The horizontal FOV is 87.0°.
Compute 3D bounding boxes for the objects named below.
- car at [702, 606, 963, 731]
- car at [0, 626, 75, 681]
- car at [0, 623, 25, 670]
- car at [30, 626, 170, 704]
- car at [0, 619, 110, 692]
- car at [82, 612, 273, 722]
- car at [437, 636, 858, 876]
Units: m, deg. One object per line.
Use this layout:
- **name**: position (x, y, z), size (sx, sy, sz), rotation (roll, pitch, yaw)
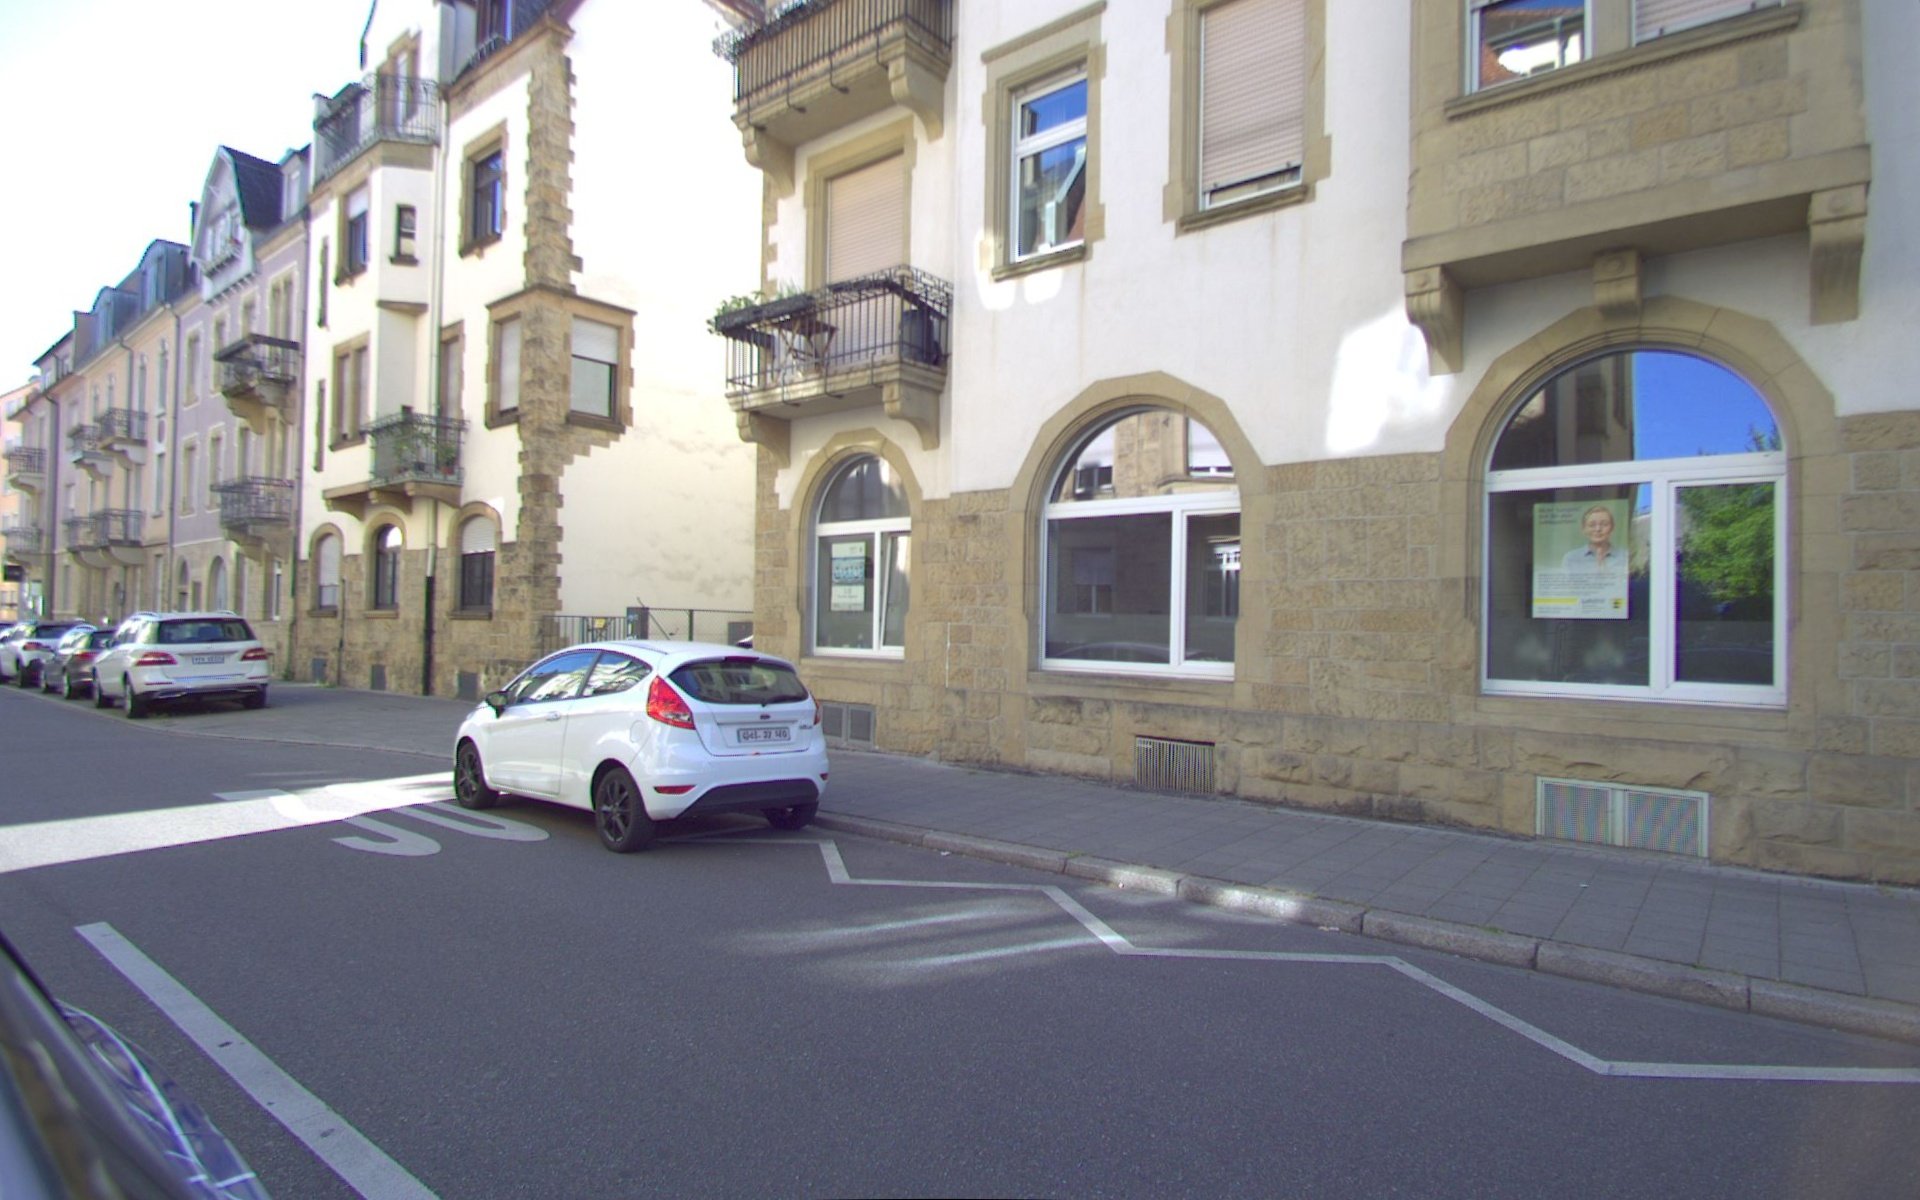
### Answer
- **car**: position (-1.940, 1.049, 16.327), size (1.908, 1.741, 3.928), rotation (-2, -3, 40)
- **car**: position (-26.874, 1.500, 28.863), size (3.658, 1.404, 1.658), rotation (-1, 1, 36)
- **car**: position (-33.065, 1.565, 34.127), size (3.719, 1.550, 1.698), rotation (-1, -2, 38)
- **car**: position (-18.597, 1.326, 21.823), size (4.275, 1.498, 1.558), rotation (-1, -1, 39)
- **car**: position (-22.865, 1.331, 25.276), size (4.015, 1.595, 1.698), rotation (-1, 1, 38)
- **car**: position (-14.128, 1.106, 18.167), size (4.724, 1.735, 1.872), rotation (-1, -2, 42)
- **car**: position (-2.685, 1.048, 8.259), size (3.734, 1.475, 1.616), rotation (-1, -2, 43)
